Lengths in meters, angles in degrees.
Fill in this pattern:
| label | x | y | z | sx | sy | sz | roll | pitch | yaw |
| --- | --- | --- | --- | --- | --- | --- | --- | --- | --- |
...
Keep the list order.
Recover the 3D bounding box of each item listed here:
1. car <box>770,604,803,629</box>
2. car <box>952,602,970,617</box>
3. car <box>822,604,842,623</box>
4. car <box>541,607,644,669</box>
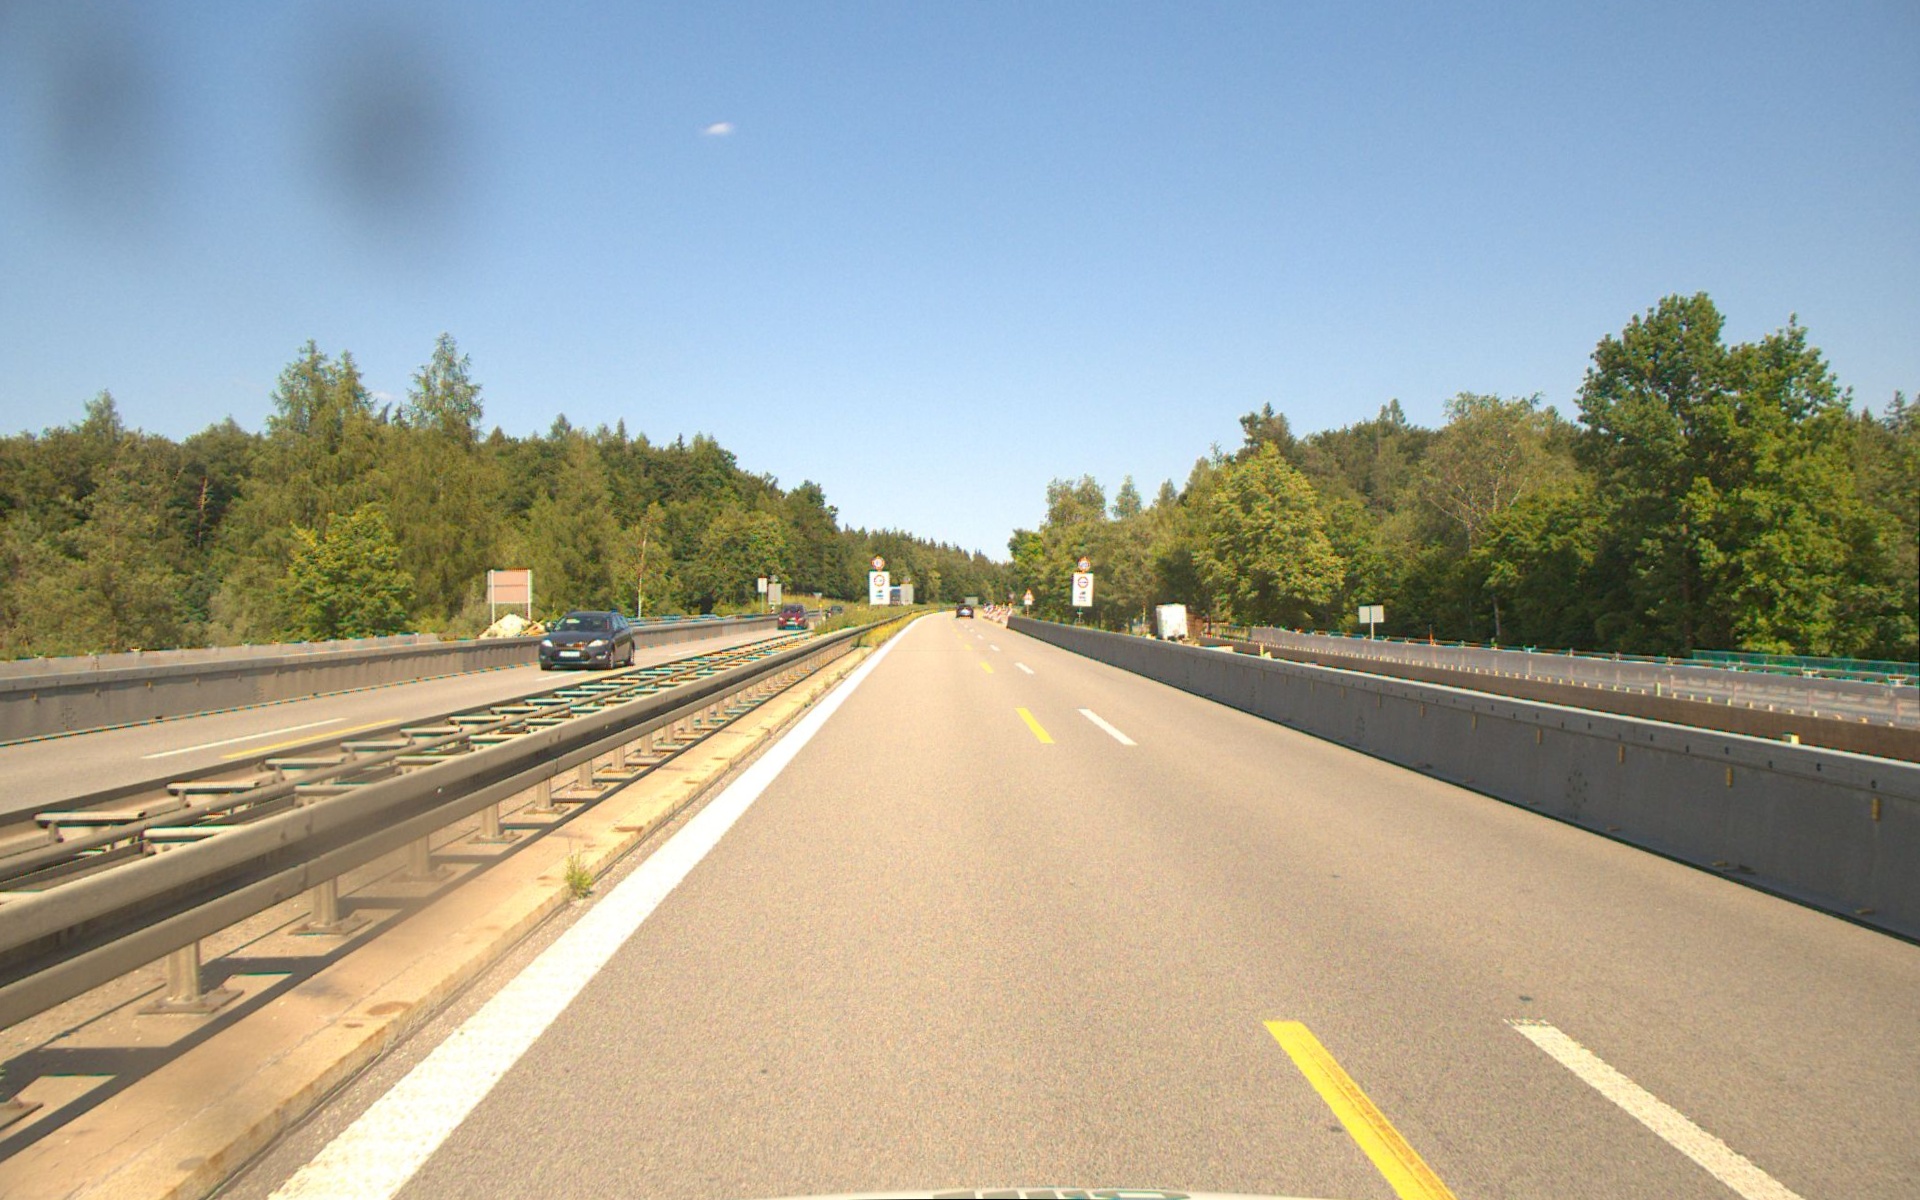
| label | x | y | z | sx | sy | sz | roll | pitch | yaw |
| --- | --- | --- | --- | --- | --- | --- | --- | --- | --- |
| car | -11.051 | 1.031 | 105.329 | 1.708 | 1.492 | 4.292 | -1 | 0 | -1 |
| car | 0.083 | 0.928 | 169.310 | 1.708 | 1.492 | 4.293 | -1 | 0 | -1 |
| car | -11.568 | 1.228 | 149.297 | 1.496 | 1.589 | 3.453 | -3 | -2 | -1 |
| car | -9.595 | 0.948 | 43.515 | 1.708 | 1.492 | 4.908 | -1 | 0 | -1 |
